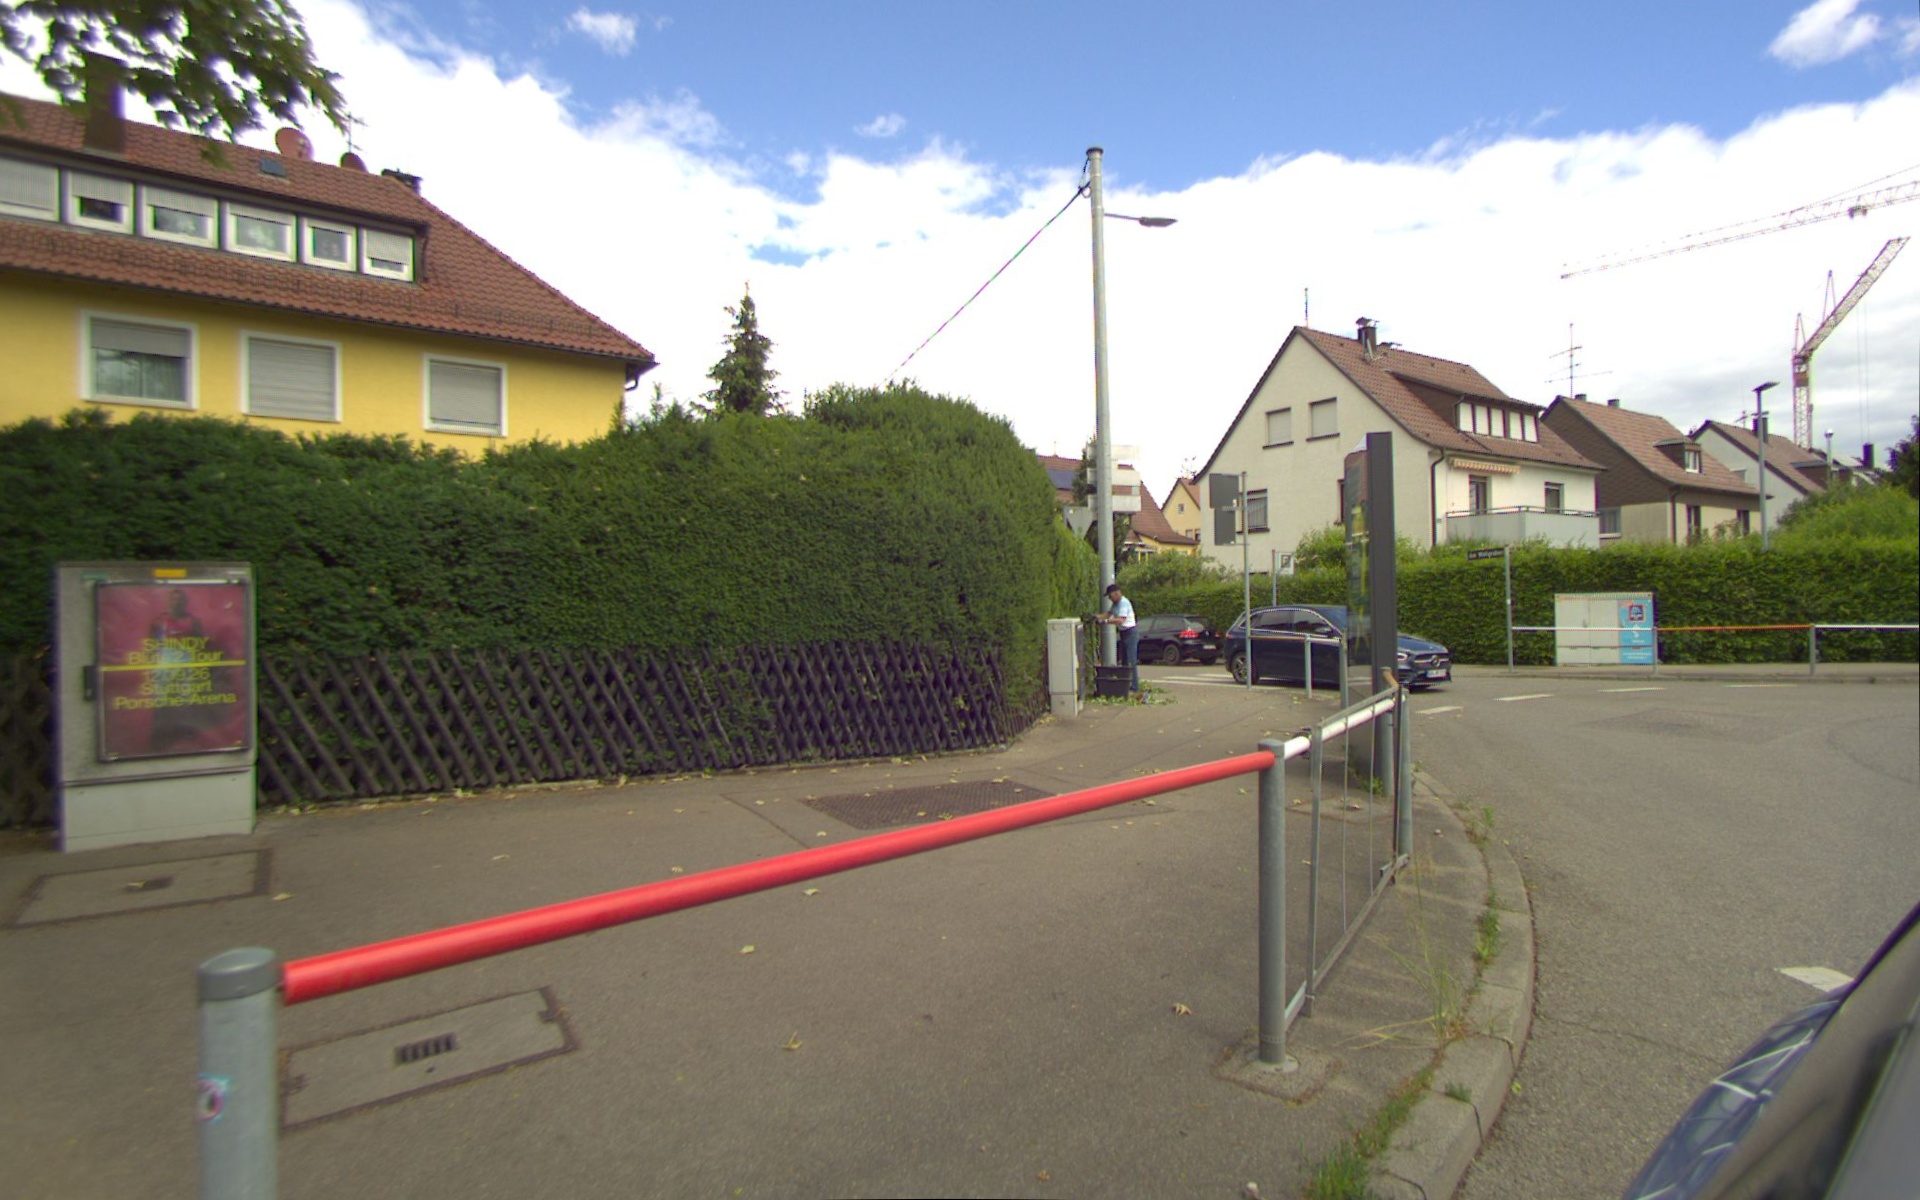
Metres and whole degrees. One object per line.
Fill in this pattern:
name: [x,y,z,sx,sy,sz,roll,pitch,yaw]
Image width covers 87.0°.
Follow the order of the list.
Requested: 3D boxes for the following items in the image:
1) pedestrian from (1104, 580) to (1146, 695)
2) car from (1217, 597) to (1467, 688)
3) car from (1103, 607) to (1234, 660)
pedestrian: [2.465,0.550,15.168,0.584,1.677,0.652,-1,-1,9]
car: [6.871,0.712,18.683,1.551,1.467,4.324,0,-1,-29]
car: [6.124,1.003,30.019,1.676,1.473,3.615,0,-2,-35]
